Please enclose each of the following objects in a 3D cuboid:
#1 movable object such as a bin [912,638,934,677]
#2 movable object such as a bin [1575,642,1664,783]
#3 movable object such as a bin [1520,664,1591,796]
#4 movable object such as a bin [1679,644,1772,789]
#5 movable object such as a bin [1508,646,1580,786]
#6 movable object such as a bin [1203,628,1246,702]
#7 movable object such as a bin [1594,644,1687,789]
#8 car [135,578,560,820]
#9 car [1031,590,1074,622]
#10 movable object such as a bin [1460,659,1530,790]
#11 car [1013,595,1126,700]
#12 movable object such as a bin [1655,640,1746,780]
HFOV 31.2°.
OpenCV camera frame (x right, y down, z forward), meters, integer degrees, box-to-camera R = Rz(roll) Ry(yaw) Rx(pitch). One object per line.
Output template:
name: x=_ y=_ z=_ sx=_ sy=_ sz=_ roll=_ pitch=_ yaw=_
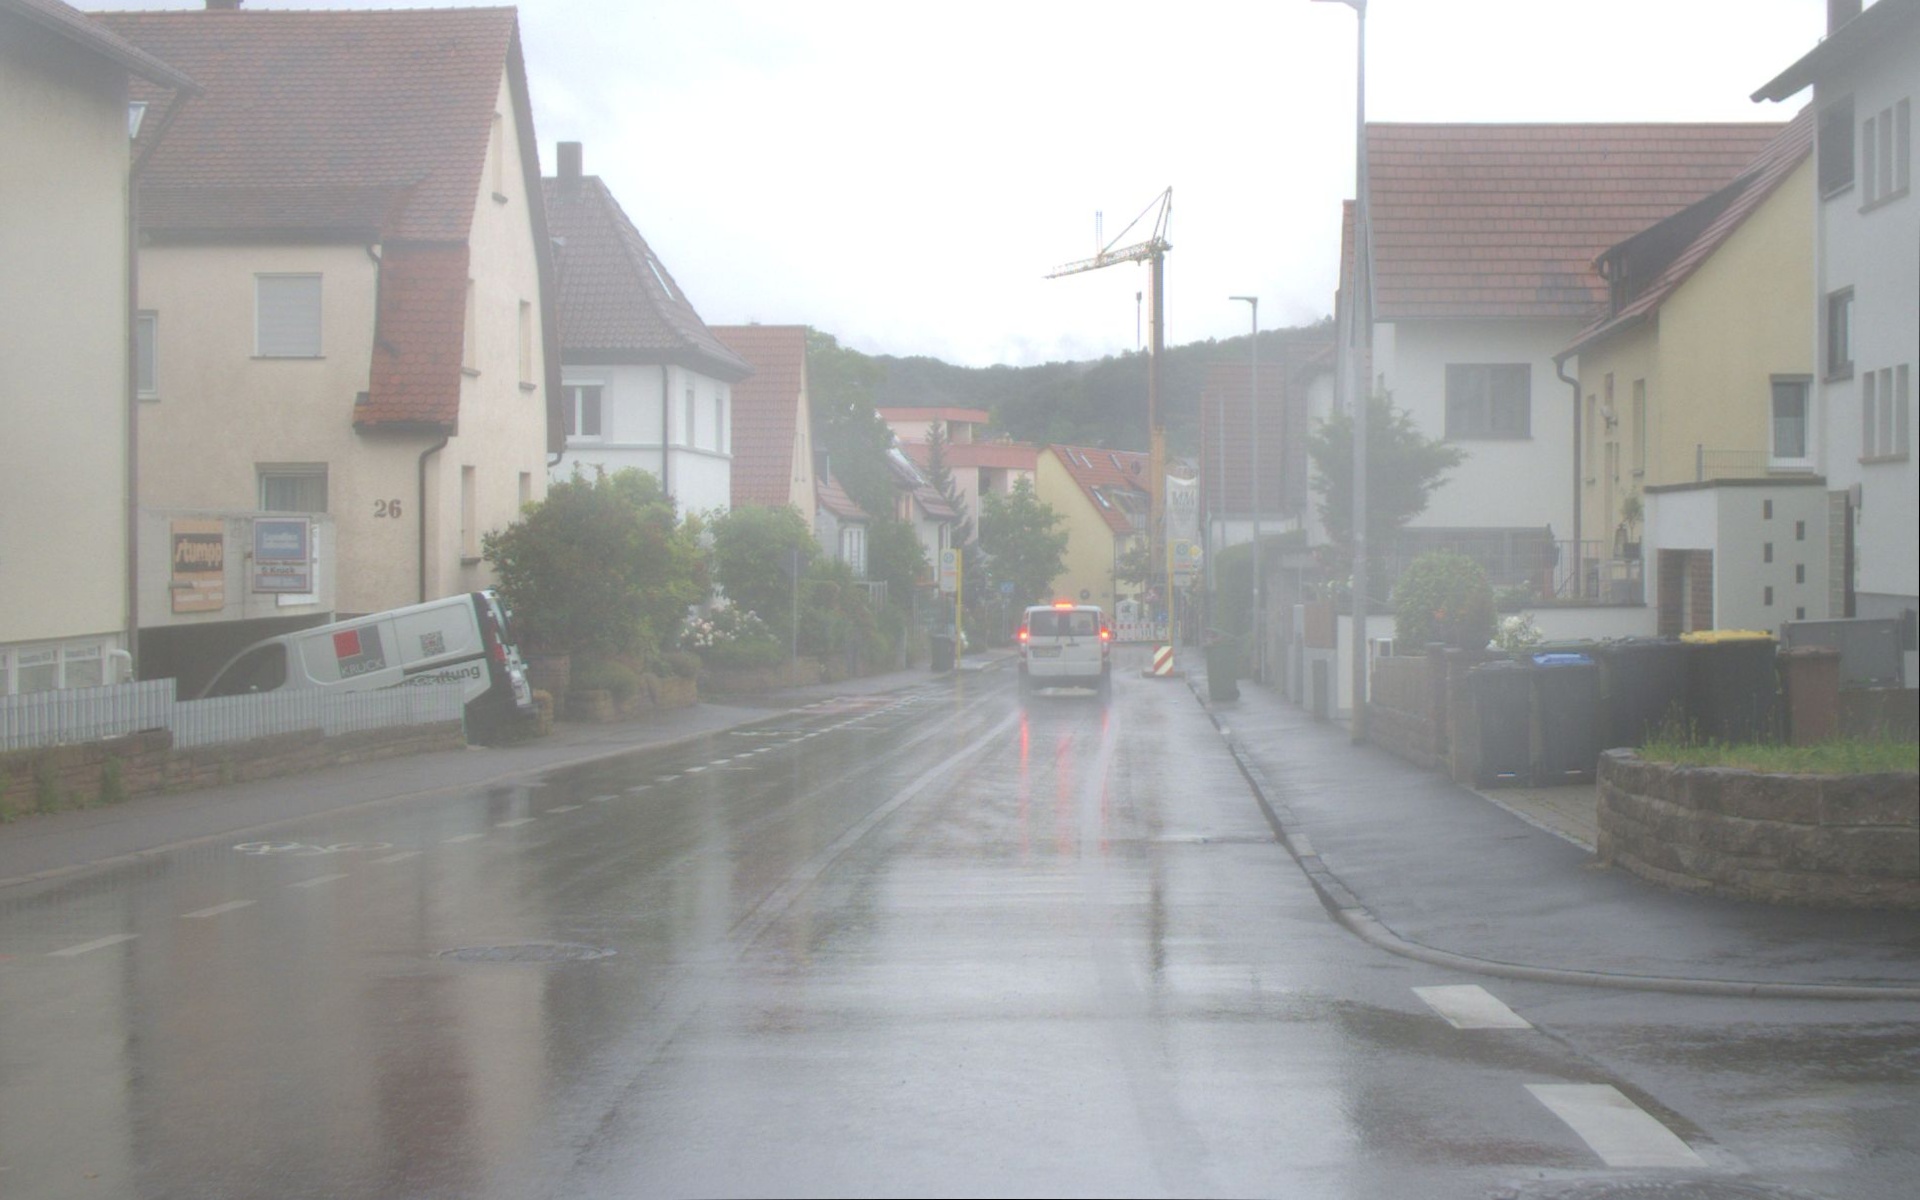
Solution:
movable object such as a bin: x=-1.190 y=1.873 z=111.249 sx=0.682 sy=1.219 sz=0.639 roll=1 pitch=2 yaw=-2
movable object such as a bin: x=5.034 y=0.855 z=26.272 sx=0.544 sy=1.024 sz=0.632 roll=1 pitch=2 yaw=1
movable object such as a bin: x=4.429 y=0.961 z=25.592 sx=0.424 sy=0.937 sz=0.508 roll=1 pitch=2 yaw=1
movable object such as a bin: x=5.689 y=0.860 z=25.571 sx=0.528 sy=1.024 sz=0.632 roll=1 pitch=2 yaw=1
movable object such as a bin: x=4.462 y=0.879 z=26.271 sx=0.424 sy=1.024 sz=0.632 roll=1 pitch=2 yaw=1
movable object such as a bin: x=4.711 y=1.156 z=61.278 sx=0.745 sy=1.274 sz=0.882 roll=0 pitch=2 yaw=3
movable object such as a bin: x=5.062 y=0.863 z=25.587 sx=0.544 sy=1.024 sz=0.632 roll=1 pitch=2 yaw=1
car: x=-7.569 y=1.199 z=42.833 sx=4.554 sy=2.006 sz=2.160 roll=-12 pitch=1 yaw=2
car: x=4.997 y=0.323 z=185.852 sx=1.842 sy=1.573 sz=4.288 roll=2 pitch=2 yaw=8
movable object such as a bin: x=3.985 y=0.922 z=25.622 sx=0.424 sy=0.937 sz=0.508 roll=1 pitch=2 yaw=1
car: x=2.270 y=0.937 z=70.168 sx=2.117 sy=1.881 sz=4.502 roll=1 pitch=2 yaw=3
movable object such as a bin: x=5.653 y=0.834 z=26.258 sx=0.544 sy=1.024 sz=0.632 roll=1 pitch=2 yaw=1
